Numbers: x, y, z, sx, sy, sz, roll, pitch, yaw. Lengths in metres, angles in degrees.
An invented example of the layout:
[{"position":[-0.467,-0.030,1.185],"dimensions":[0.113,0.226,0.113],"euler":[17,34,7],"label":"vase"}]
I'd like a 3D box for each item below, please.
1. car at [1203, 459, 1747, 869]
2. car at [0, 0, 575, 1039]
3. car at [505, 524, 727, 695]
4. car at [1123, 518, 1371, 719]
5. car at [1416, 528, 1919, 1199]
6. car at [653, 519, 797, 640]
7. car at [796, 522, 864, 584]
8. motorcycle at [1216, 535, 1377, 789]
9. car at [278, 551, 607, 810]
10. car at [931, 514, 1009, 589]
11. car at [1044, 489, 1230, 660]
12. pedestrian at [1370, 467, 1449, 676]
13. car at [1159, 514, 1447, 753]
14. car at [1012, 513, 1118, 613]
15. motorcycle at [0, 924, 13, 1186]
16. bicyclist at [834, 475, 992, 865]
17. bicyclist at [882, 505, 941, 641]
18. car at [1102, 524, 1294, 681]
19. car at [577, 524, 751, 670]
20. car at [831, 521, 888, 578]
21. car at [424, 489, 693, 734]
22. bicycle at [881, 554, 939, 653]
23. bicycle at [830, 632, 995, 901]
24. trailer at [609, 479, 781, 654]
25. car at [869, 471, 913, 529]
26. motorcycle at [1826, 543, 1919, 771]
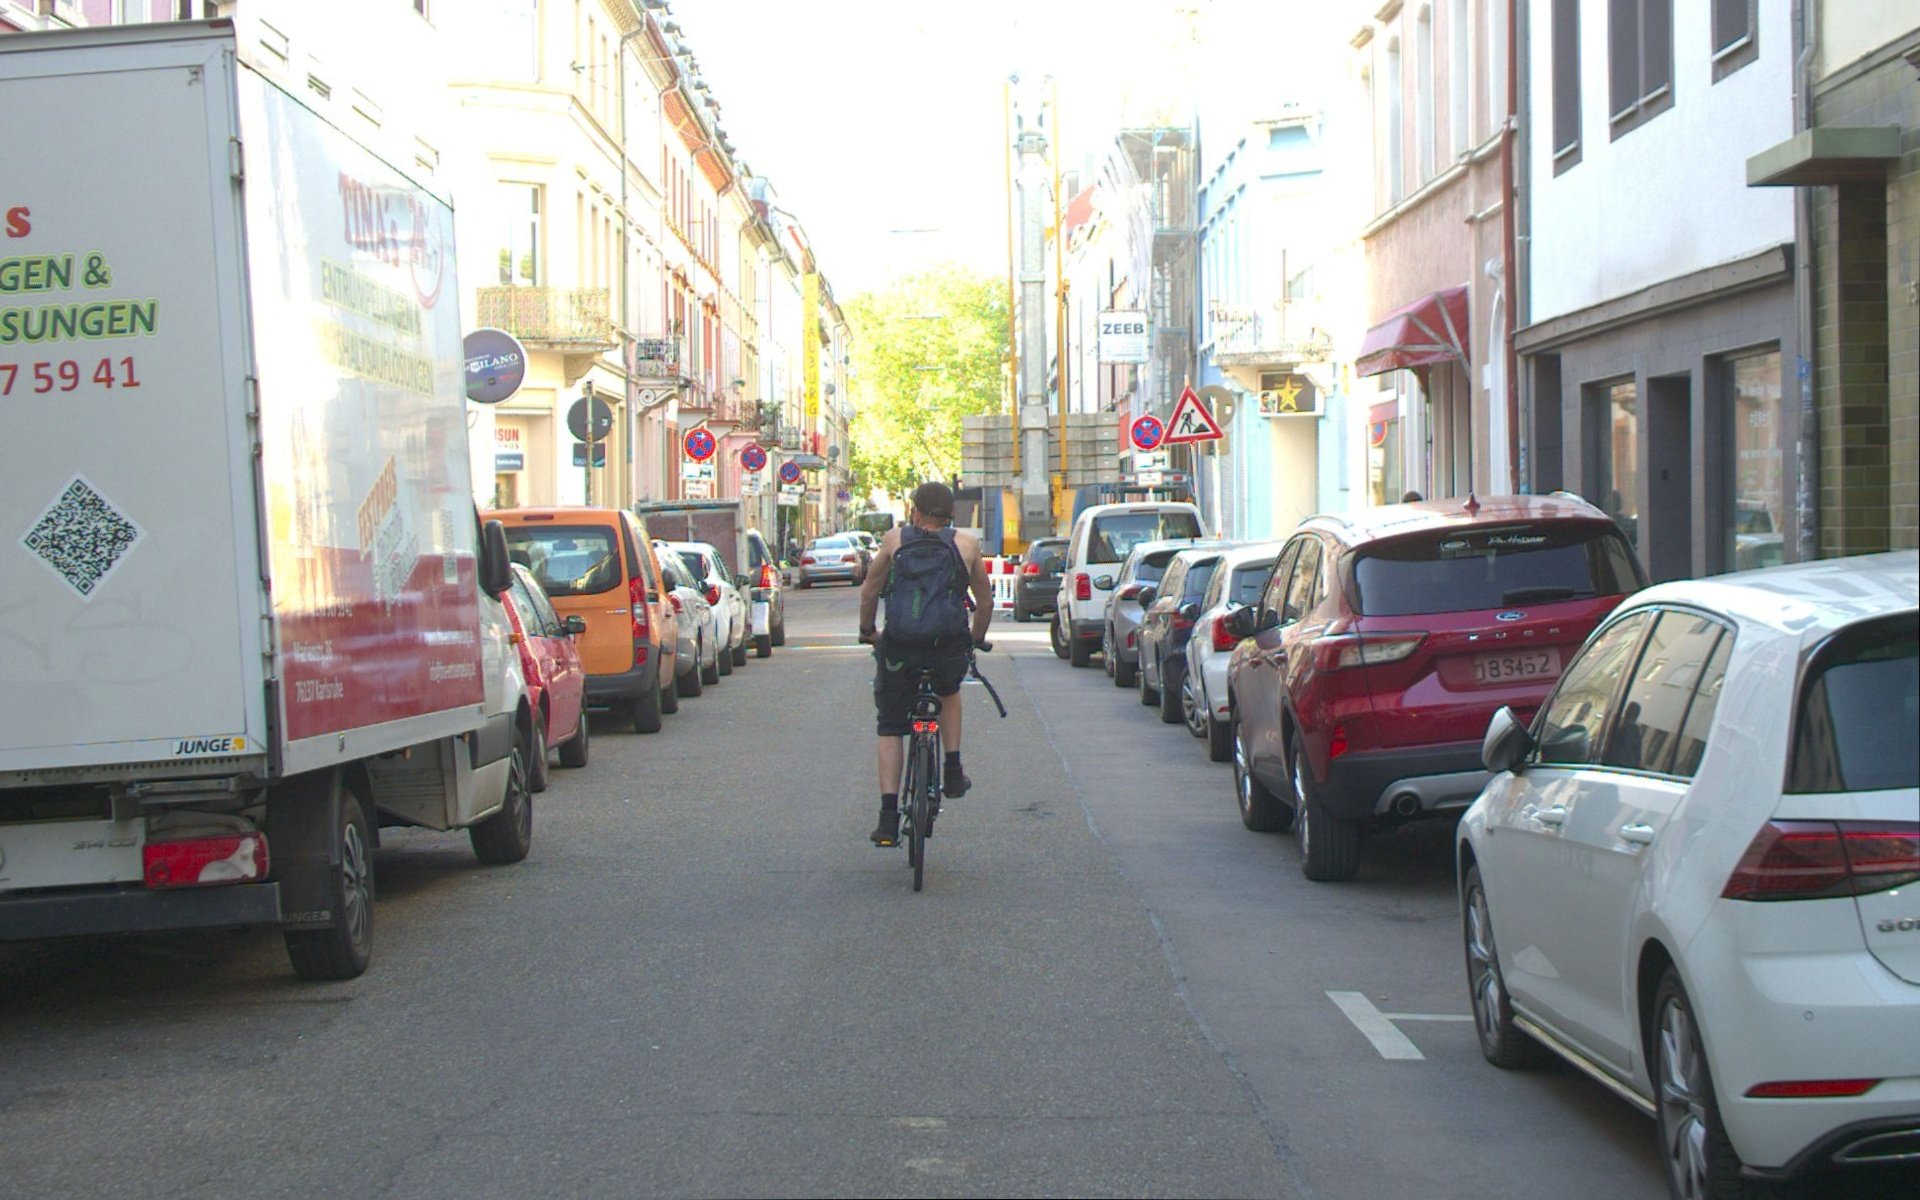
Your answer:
[{"position":[2.336,0.223,16.730],"dimensions":[1.918,1.700,4.366],"euler":[-1,1,-1],"label":"car"},{"position":[-3.251,-0.319,14.200],"dimensions":[2.343,3.280,7.154],"euler":[-2,1,0],"label":"car"},{"position":[-3.324,0.056,33.915],"dimensions":[1.750,1.532,4.319],"euler":[-2,1,-1],"label":"car"},{"position":[2.378,0.122,29.372],"dimensions":[1.646,1.470,3.971],"euler":[-4,1,0],"label":"car"},{"position":[2.307,0.605,8.584],"dimensions":[1.686,1.538,4.046],"euler":[-2,1,-1],"label":"car"},{"position":[-3.242,-0.301,47.963],"dimensions":[1.750,1.567,3.796],"euler":[-2,1,-1],"label":"car"},{"position":[-3.647,-1.318,97.020],"dimensions":[1.750,1.678,3.796],"euler":[-2,1,-1],"label":"car"},{"position":[2.067,0.347,21.382],"dimensions":[0.747,1.485,2.422],"euler":[1,1,0],"label":"motorcycle"},{"position":[-3.307,0.463,22.545],"dimensions":[1.578,1.478,3.565],"euler":[-3,1,-1],"label":"car"},{"position":[0.202,-1.035,73.956],"dimensions":[1.611,1.555,3.610],"euler":[0,1,-1],"label":"car"},{"position":[2.029,-0.309,40.428],"dimensions":[1.750,1.872,3.973],"euler":[-2,1,-3],"label":"car"},{"position":[4.373,-0.281,33.458],"dimensions":[0.644,2.007,0.764],"euler":[0,1,-1],"label":"pedestrian"},{"position":[2.403,0.197,24.892],"dimensions":[1.667,1.500,3.816],"euler":[-3,1,1],"label":"car"},{"position":[1.740,-0.626,57.830],"dimensions":[1.611,1.628,3.610],"euler":[0,1,-1],"label":"car"},{"position":[-3.360,0.876,7.968],"dimensions":[0.791,1.248,2.102],"euler":[-1,2,41],"label":"motorcycle"},{"position":[-0.211,0.294,15.317],"dimensions":[0.667,1.671,1.097],"euler":[0,1,-1],"label":"bicyclist"},{"position":[-0.571,-0.317,40.193],"dimensions":[0.671,1.562,0.716],"euler":[0,1,-1],"label":"bicyclist"},{"position":[2.393,0.000,35.367],"dimensions":[1.750,1.481,3.800],"euler":[-1,1,1],"label":"car"},{"position":[-3.306,-0.056,38.906],"dimensions":[1.653,1.532,3.634],"euler":[-2,1,-1],"label":"car"},{"position":[-3.314,-1.667,114.077],"dimensions":[1.750,1.815,3.796],"euler":[-2,1,-1],"label":"car"},{"position":[-3.247,0.063,28.524],"dimensions":[1.752,1.810,4.078],"euler":[-3,1,-1],"label":"car"},{"position":[-0.579,0.022,40.308],"dimensions":[0.648,1.125,2.136],"euler":[0,1,-1],"label":"bicycle"},{"position":[-0.212,0.702,15.293],"dimensions":[0.677,1.071,1.942],"euler":[0,1,-1],"label":"bicycle"},{"position":[-3.319,-0.431,43.646],"dimensions":[1.882,2.085,3.737],"euler":[-2,1,-1],"label":"trailer"},{"position":[-2.878,-4.179,144.142],"dimensions":[1.750,2.310,3.796],"euler":[-2,1,-1],"label":"car"},{"position":[4.882,0.266,17.299],"dimensions":[0.501,1.091,1.878],"euler":[-3,1,-1],"label":"motorcycle"}]
